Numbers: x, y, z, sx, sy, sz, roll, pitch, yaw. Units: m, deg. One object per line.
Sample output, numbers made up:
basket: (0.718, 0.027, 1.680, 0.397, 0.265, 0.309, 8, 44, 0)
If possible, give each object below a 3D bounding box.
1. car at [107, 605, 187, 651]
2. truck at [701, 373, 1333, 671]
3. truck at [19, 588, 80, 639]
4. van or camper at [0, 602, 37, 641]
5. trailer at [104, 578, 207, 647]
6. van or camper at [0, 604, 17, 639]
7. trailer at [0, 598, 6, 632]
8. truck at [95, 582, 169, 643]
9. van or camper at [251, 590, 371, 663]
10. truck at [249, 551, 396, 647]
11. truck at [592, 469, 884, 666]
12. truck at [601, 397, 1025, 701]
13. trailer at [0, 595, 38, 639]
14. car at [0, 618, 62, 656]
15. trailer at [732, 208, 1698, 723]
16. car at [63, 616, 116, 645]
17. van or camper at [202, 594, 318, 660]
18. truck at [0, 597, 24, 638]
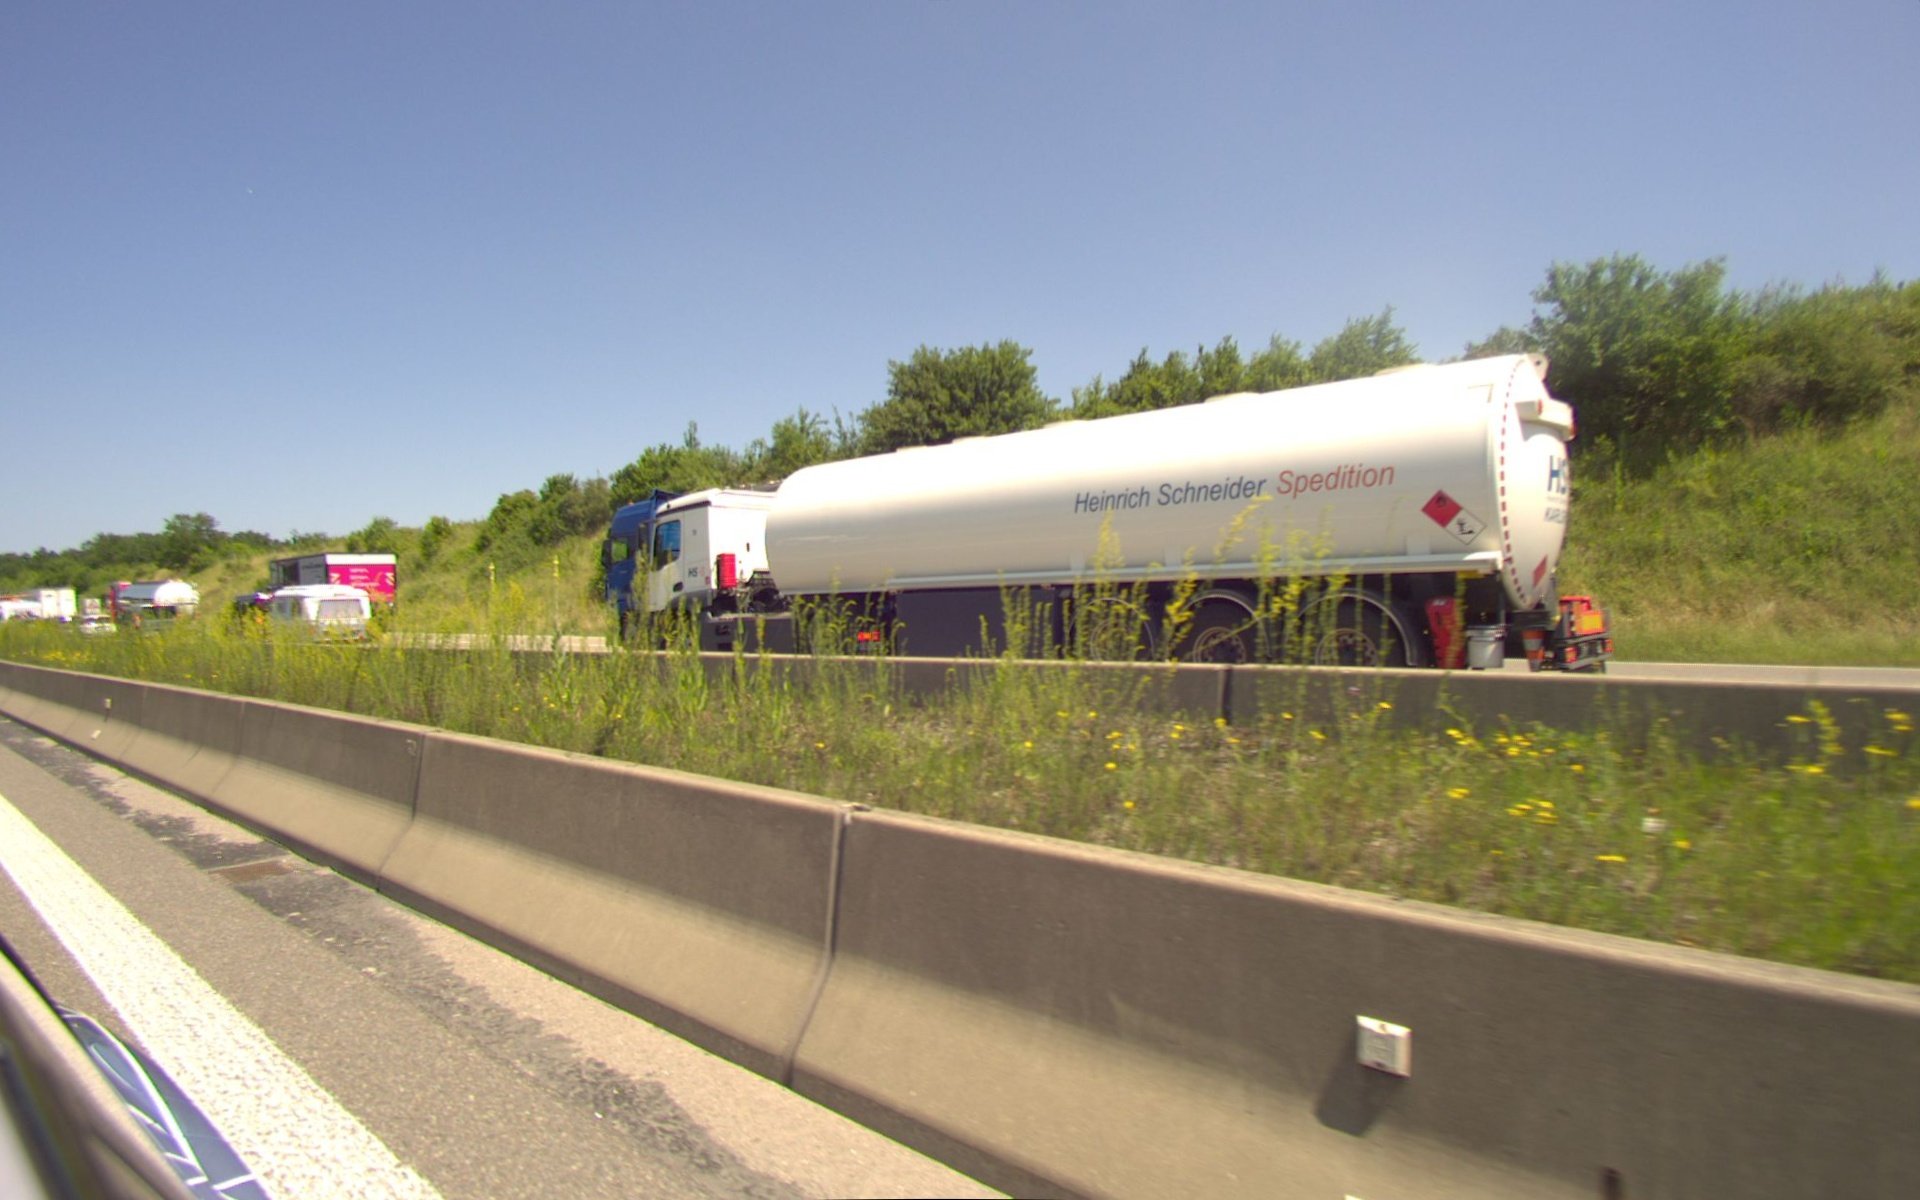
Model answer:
car: (-38.068, 1.272, 47.316, 5.092, 1.972, 2.003, -1, 1, 41)
truck: (0.209, -0.944, 19.473, 12.573, 4.124, 3.541, -2, -1, 41)
truck: (-84.883, 1.261, 94.214, 12.415, 4.357, 2.495, -1, 2, 41)
van or camper: (-77.015, 1.748, 82.027, 8.130, 2.958, 2.518, -1, 1, 43)
trailer: (-51.794, 0.811, 64.964, 12.265, 3.979, 2.653, -1, 2, 40)
van or camper: (-85.458, 1.918, 89.392, 7.827, 2.958, 2.518, -1, 1, 43)
trailer: (-120.193, 1.962, 124.453, 12.244, 4.063, 2.752, -1, 2, 41)
truck: (-56.633, 0.835, 69.163, 6.029, 3.851, 2.755, -1, 2, 41)
van or camper: (-21.048, 0.817, 32.735, 4.715, 2.169, 1.973, -1, 0, 41)
truck: (-27.479, -0.013, 43.357, 9.933, 3.702, 2.518, -1, 1, 41)
truck: (-5.476, -0.723, 24.445, 6.640, 4.066, 3.455, -1, 3, 41)
truck: (-2.695, -0.629, 16.464, 7.399, 3.919, 2.591, -1, 0, 41)
trailer: (-101.249, 1.850, 108.013, 11.992, 4.342, 2.586, -1, 2, 41)
car: (-43.238, 1.667, 46.954, 4.852, 1.595, 1.736, -1, 1, 41)
trailer: (1.834, -0.880, 12.582, 11.637, 3.980, 2.652, -2, -2, 40)
car: (-50.824, 1.763, 59.053, 4.187, 1.561, 1.736, -1, 1, 41)
van or camper: (-25.160, 0.949, 36.287, 5.951, 2.169, 1.973, -1, 0, 41)
truck: (-106.570, 1.928, 112.531, 7.287, 4.357, 2.564, -1, 2, 40)
